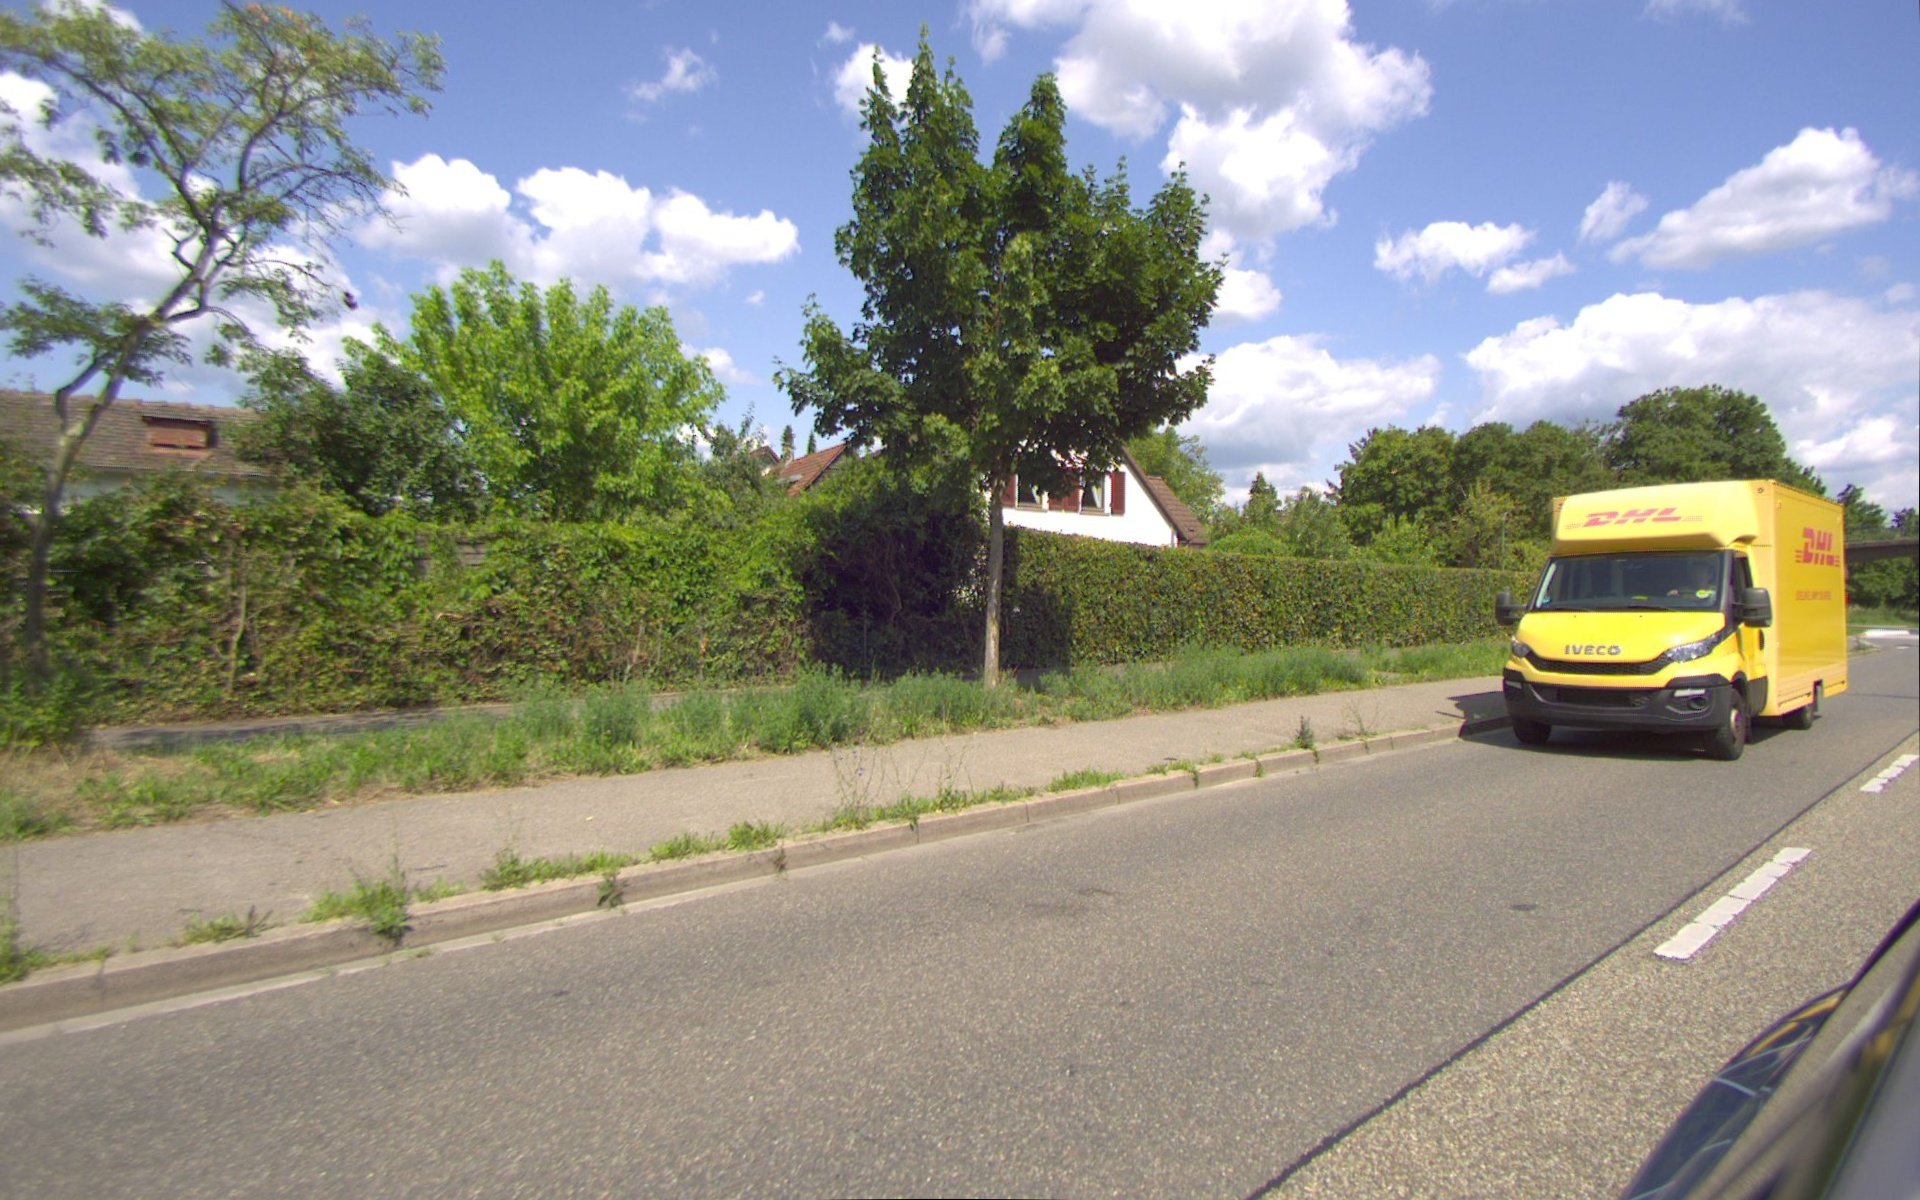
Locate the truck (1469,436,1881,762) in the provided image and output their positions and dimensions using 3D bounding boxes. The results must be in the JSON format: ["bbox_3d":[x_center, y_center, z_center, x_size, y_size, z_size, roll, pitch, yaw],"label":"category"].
[{"bbox_3d":[9.159,0.046,12.486,7.885,2.917,2.269,1,-1,-40],"label":"truck"}]
